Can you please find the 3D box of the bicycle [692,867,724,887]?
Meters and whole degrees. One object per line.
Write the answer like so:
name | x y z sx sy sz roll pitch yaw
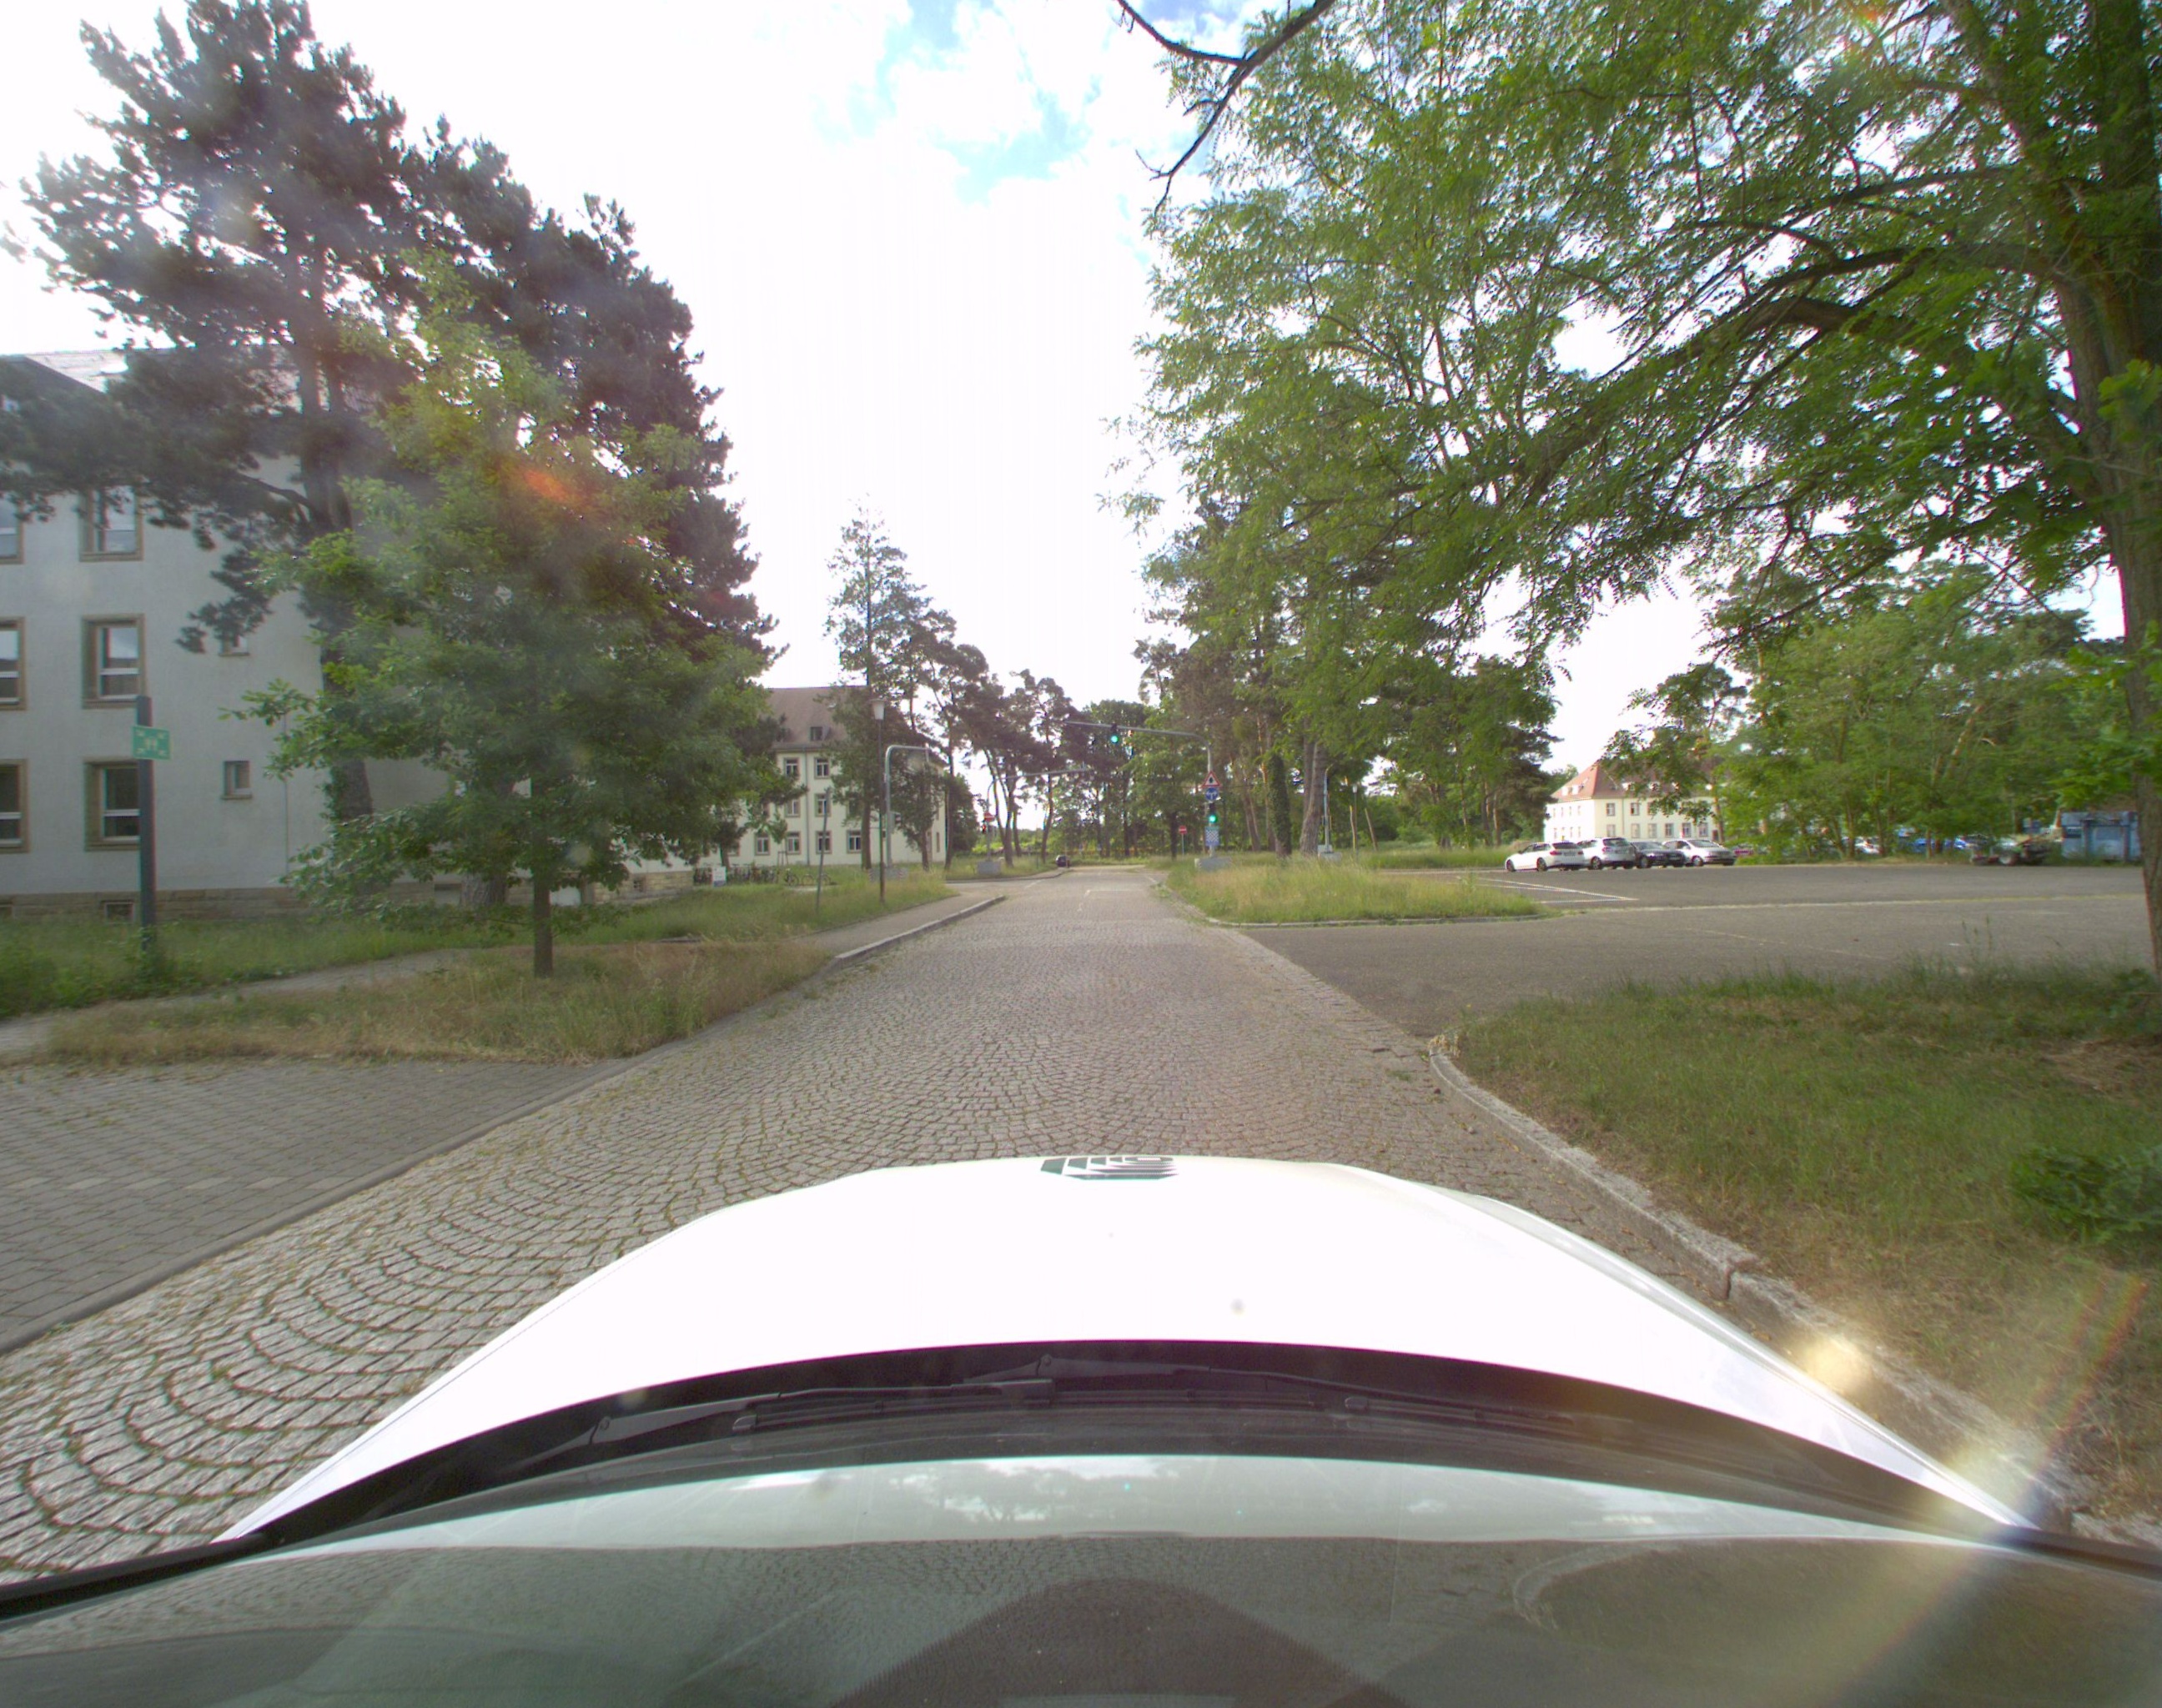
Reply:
bicycle | -22.002 1.334 48.073 0.733 1.076 2.274 -2 0 2

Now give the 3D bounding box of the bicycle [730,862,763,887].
bicycle | -19.820 1.178 48.337 0.733 1.385 2.713 -2 0 2

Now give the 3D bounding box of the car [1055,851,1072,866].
car | -2.206 0.573 103.832 2.048 1.846 4.001 -2 0 1

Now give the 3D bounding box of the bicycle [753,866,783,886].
bicycle | -18.444 1.286 48.031 0.733 1.076 2.274 -2 0 2

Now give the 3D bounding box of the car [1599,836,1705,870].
car | 27.961 0.000 40.068 1.988 1.481 4.422 -2 -1 -2

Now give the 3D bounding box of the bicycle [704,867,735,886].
bicycle | -21.273 1.319 47.985 0.733 1.076 2.274 -2 0 2

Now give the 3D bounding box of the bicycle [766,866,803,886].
bicycle | -17.002 1.240 46.748 1.848 1.076 0.739 -2 0 3

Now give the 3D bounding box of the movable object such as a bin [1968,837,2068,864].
movable object such as a bin | 31.190 -0.107 27.161 1.179 0.825 1.957 -2 0 6

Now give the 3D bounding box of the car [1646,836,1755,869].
car | 30.637 -0.019 40.486 1.988 1.523 4.422 0 -1 -2

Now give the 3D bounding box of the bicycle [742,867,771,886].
bicycle | -19.086 1.308 47.965 0.733 1.076 2.274 -2 0 2

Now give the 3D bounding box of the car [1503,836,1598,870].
car | 22.776 0.002 39.709 1.988 1.481 4.422 -2 -1 -2

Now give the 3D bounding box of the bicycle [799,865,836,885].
bicycle | -15.119 1.190 46.745 1.848 1.076 0.832 -2 0 3

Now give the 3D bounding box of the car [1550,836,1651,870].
car | 25.291 0.001 39.834 1.988 1.481 4.422 -2 -1 -2

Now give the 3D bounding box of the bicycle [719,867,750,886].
bicycle | -20.612 1.329 48.464 0.733 1.076 2.274 -2 0 2
